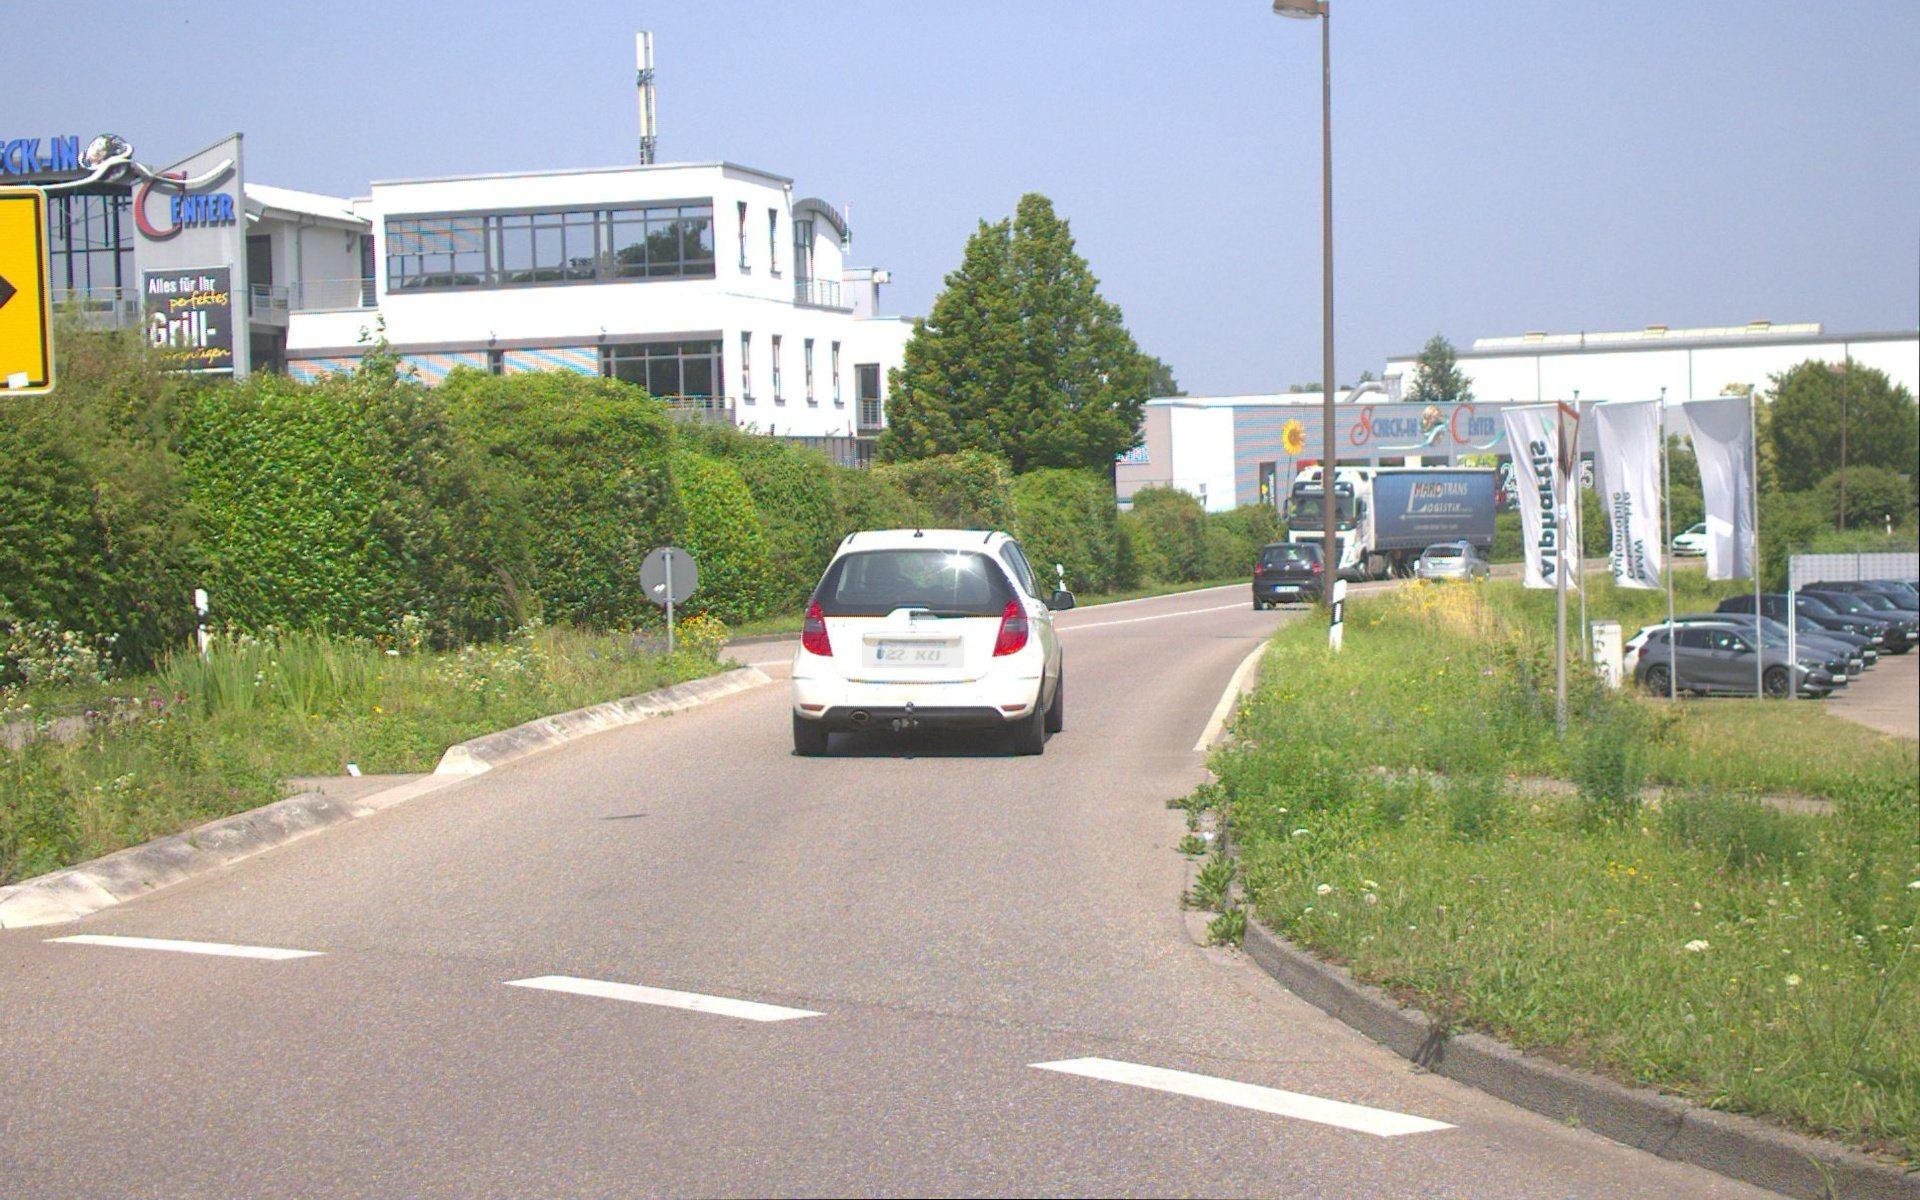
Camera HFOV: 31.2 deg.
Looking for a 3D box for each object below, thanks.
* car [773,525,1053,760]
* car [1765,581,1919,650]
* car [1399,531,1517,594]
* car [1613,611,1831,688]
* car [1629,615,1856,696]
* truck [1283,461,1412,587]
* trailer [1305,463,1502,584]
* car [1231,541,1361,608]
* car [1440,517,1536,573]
[{"bbox_3d":[-0.269,0.257,25.304,1.781,1.598,3.893,0,1,3],"label":"car"},{"bbox_3d":[23.951,0.392,92.178,1.914,1.695,4.233,-4,3,-43],"label":"car"},{"bbox_3d":[16.286,-1.233,112.330,1.998,2.007,3.991,1,1,40],"label":"car"},{"bbox_3d":[16.088,1.033,72.653,4.168,1.518,1.747,1,1,39],"label":"car"},{"bbox_3d":[15.722,1.094,69.208,4.169,1.518,1.686,1,1,43],"label":"car"},{"bbox_3d":[13.640,-2.649,120.730,2.516,4.243,6.104,-1,0,26],"label":"truck"},{"bbox_3d":[16.521,-2.751,126.817,2.674,4.226,14.545,1,1,26],"label":"trailer"},{"bbox_3d":[7.669,-0.597,78.122,1.831,1.465,4.405,0,1,21],"label":"car"},{"bbox_3d":[19.373,-2.008,125.973,1.997,2.007,3.992,0,1,33],"label":"car"}]
